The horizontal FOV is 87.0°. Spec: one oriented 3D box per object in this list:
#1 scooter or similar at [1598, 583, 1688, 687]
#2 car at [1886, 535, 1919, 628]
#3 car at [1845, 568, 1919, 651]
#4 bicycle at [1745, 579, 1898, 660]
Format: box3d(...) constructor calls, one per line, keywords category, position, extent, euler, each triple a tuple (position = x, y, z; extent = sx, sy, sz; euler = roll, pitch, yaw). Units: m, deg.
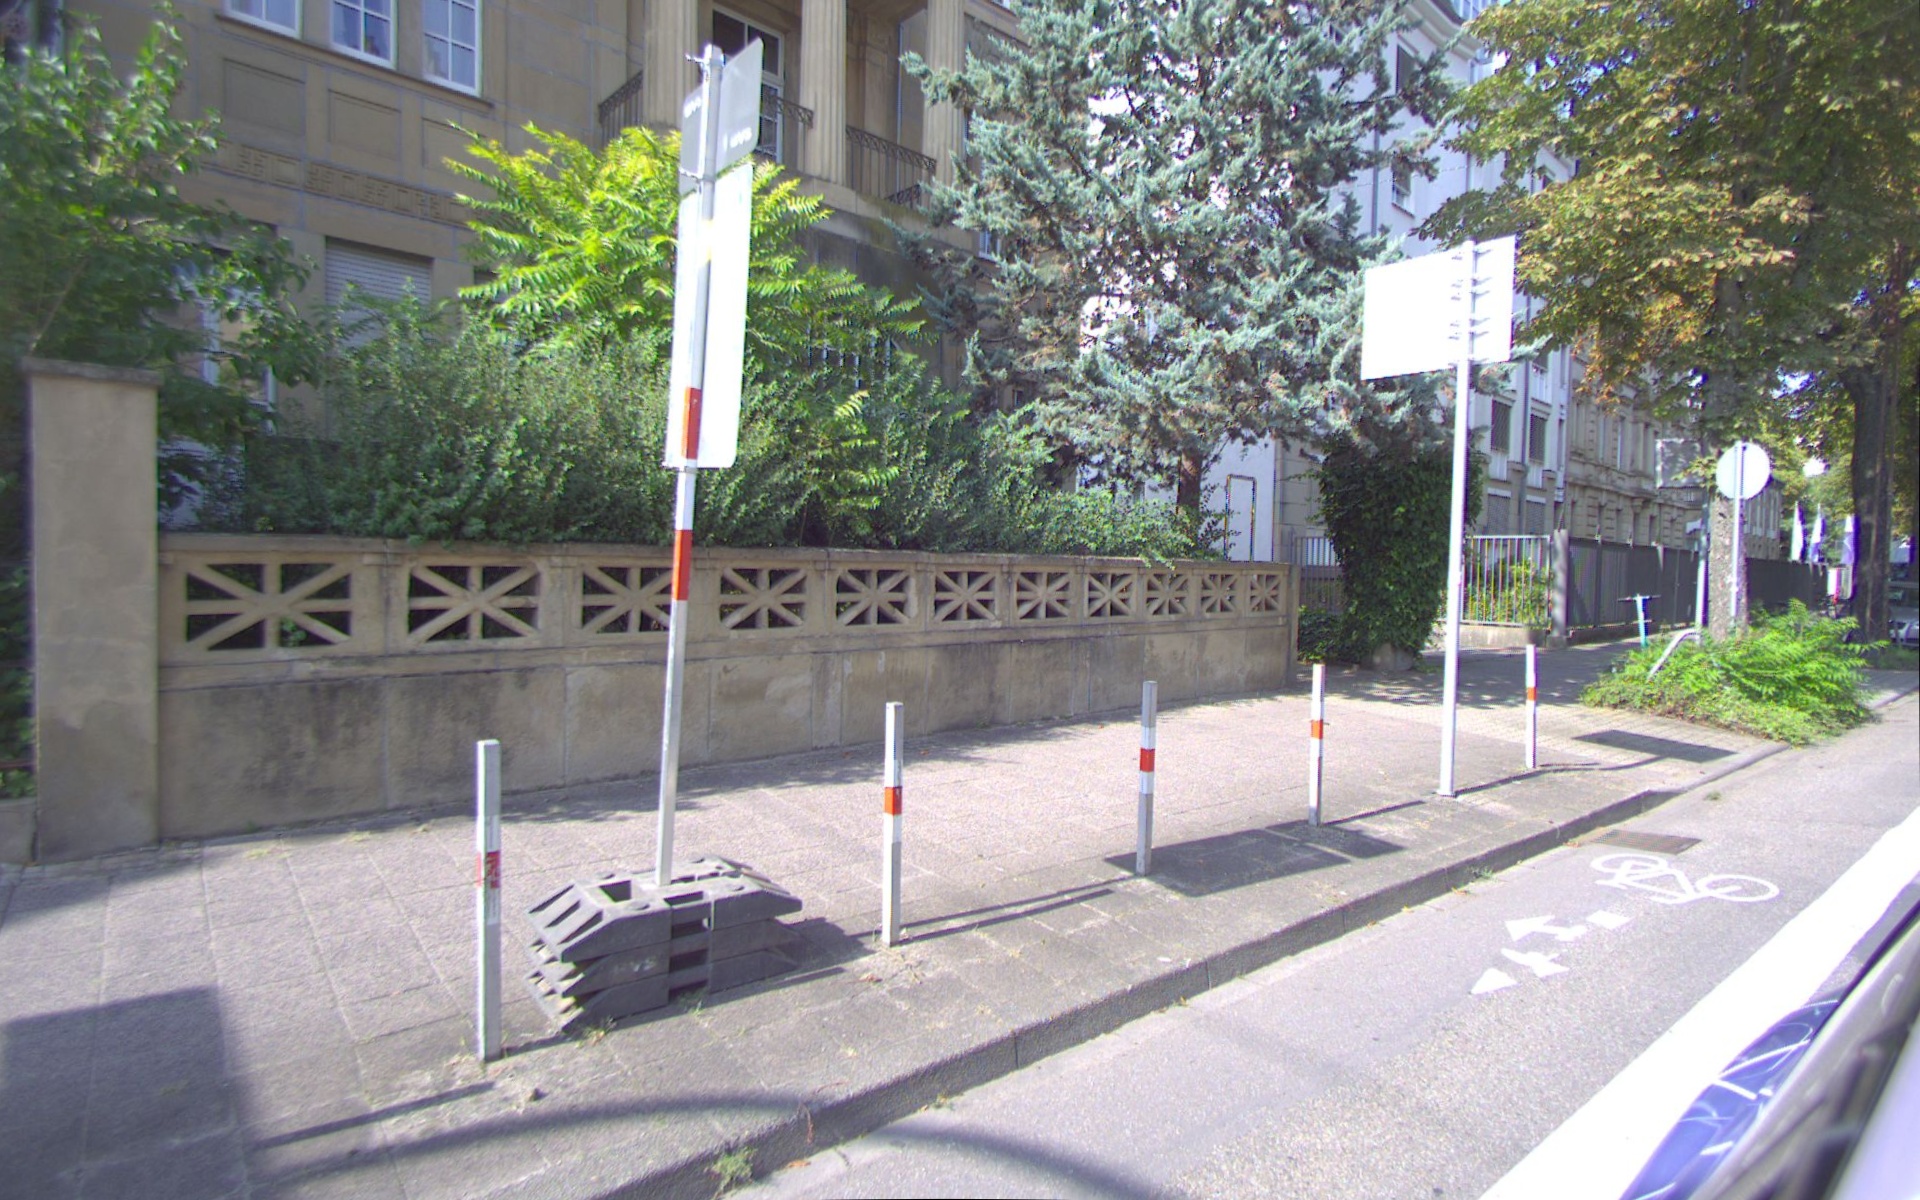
box3d(category="scooter or similar", position=(8.574, 0.413, 12.697), extent=(1.015, 1.211, 0.560), euler=(-1, 6, -38))
box3d(category="car", position=(28.707, -0.524, 29.442), extent=(6.124, 2.529, 2.049), euler=(-1, 3, -43))
box3d(category="car", position=(20.278, 0.167, 21.561), extent=(4.284, 1.541, 1.610), euler=(-1, 6, -43))
box3d(category="bicycle", position=(14.329, 0.312, 16.872), extent=(1.811, 1.178, 0.504), euler=(3, 8, 8))
